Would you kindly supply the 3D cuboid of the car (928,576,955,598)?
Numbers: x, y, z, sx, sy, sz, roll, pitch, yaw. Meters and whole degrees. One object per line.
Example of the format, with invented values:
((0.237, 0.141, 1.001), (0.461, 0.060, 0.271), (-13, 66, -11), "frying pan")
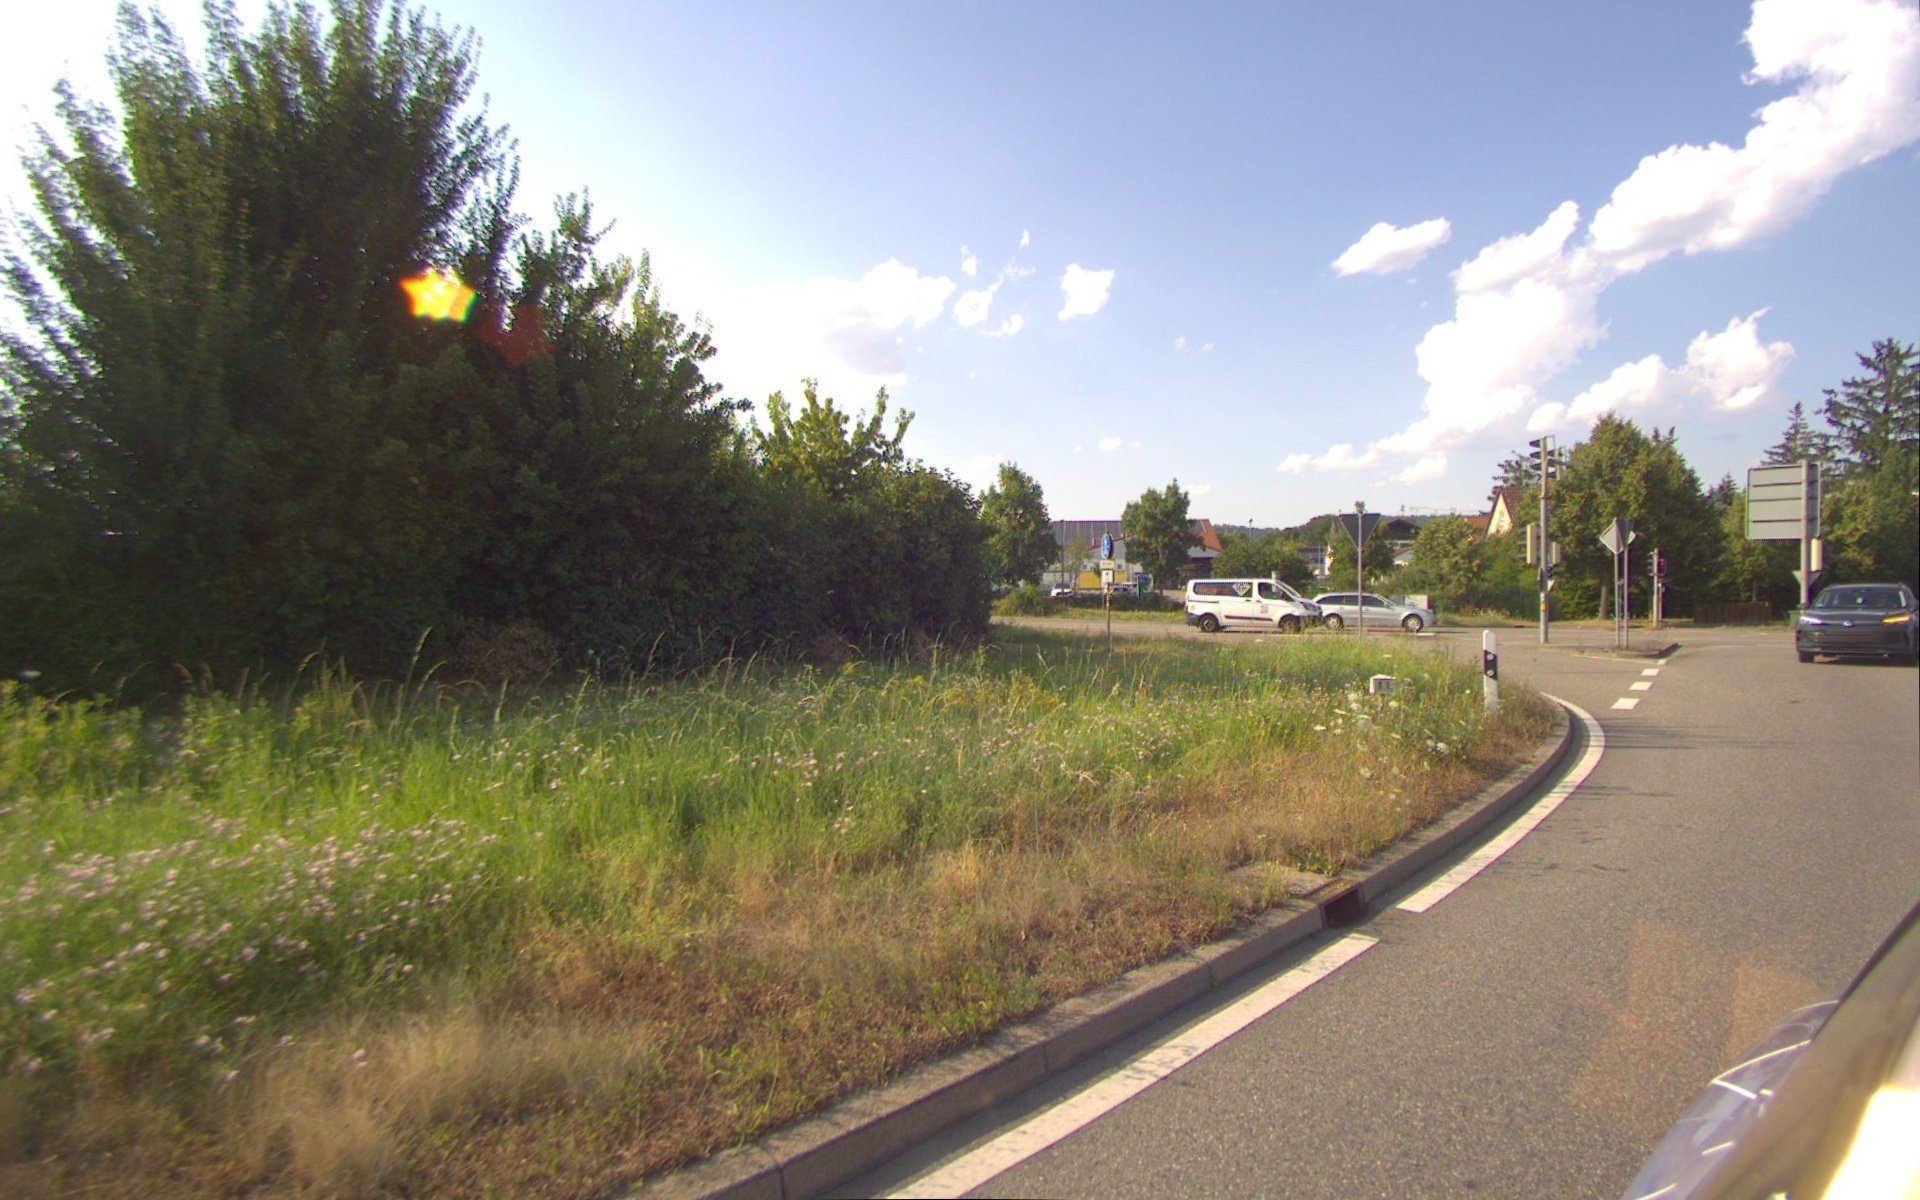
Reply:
((-1.824, -1.288, 100.578), (1.966, 2.040, 4.661), (0, -1, 8), "car")

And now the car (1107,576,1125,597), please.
((14.593, -1.268, 94.889), (1.580, 1.907, 2.929), (0, -1, 7), "car")

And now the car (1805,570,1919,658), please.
((19.142, 0.283, 21.155), (4.394, 1.650, 1.784), (0, -1, -44), "car")

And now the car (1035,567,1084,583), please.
((9.778, -2.453, 99.867), (4.707, 1.554, 1.849), (0, -1, 4), "car")

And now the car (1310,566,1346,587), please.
((30.342, -1.917, 83.564), (1.577, 1.601, 3.587), (0, -1, -1), "car")

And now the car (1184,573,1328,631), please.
((10.794, 0.045, 36.955), (4.775, 1.972, 1.887), (1, 0, 29), "car")

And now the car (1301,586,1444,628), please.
((15.792, 0.294, 38.831), (4.908, 1.533, 1.844), (-1, -1, 29), "car")
